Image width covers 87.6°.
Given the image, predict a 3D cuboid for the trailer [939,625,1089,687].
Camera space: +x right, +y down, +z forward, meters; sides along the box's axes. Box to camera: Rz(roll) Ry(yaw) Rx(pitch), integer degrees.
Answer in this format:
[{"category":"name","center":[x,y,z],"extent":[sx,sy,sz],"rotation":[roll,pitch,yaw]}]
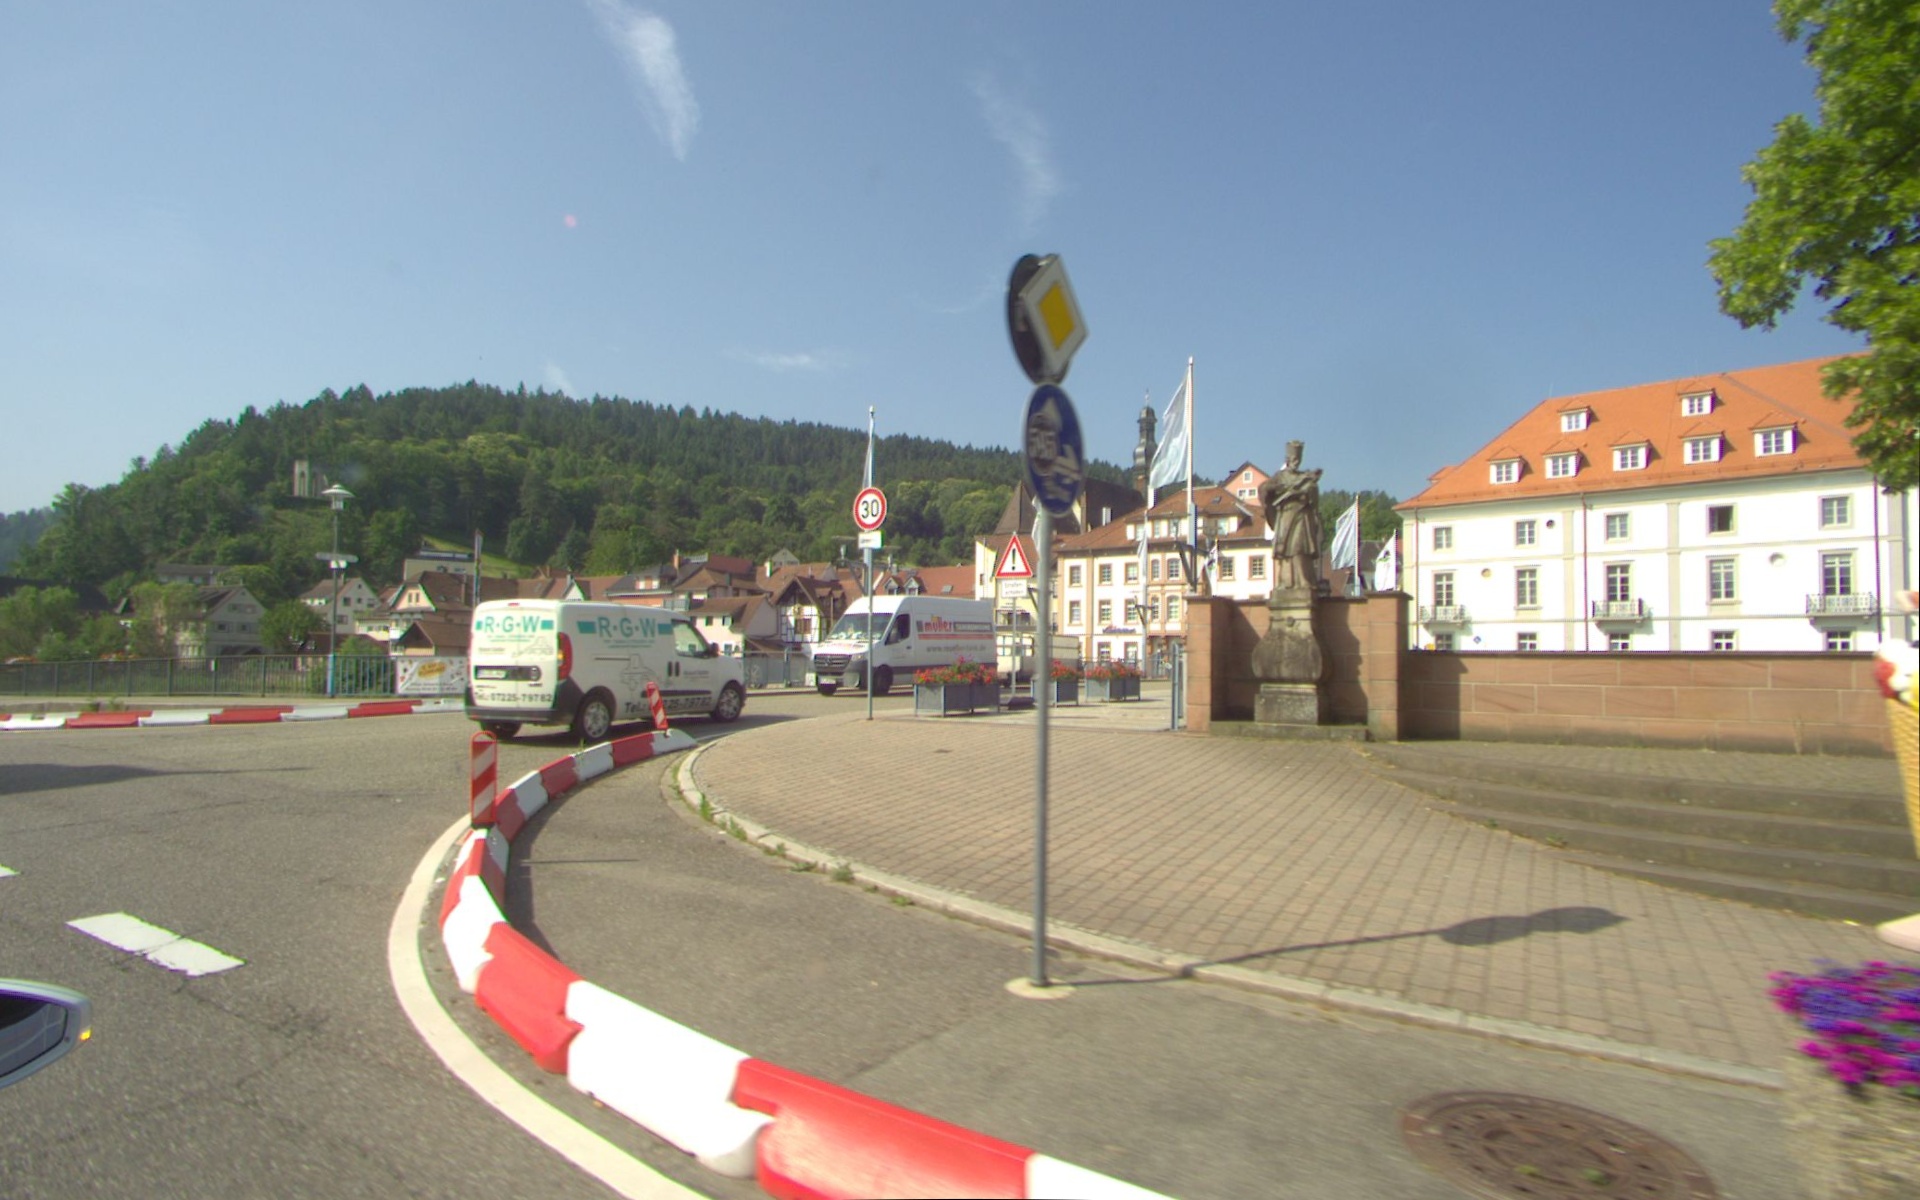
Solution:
[{"category":"trailer","center":[1.897,1.810,32.804],"extent":[2.581,1.850,5.612],"rotation":[-2,-3,31]}]

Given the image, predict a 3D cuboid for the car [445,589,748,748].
[{"category":"car","center":[-5.006,0.863,14.509],"extent":[1.817,1.931,4.307],"rotation":[1,0,19]}]

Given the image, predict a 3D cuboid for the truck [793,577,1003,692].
[{"category":"truck","center":[-1.424,1.044,27.364],"extent":[2.081,2.732,7.103],"rotation":[-1,-4,31]}]
